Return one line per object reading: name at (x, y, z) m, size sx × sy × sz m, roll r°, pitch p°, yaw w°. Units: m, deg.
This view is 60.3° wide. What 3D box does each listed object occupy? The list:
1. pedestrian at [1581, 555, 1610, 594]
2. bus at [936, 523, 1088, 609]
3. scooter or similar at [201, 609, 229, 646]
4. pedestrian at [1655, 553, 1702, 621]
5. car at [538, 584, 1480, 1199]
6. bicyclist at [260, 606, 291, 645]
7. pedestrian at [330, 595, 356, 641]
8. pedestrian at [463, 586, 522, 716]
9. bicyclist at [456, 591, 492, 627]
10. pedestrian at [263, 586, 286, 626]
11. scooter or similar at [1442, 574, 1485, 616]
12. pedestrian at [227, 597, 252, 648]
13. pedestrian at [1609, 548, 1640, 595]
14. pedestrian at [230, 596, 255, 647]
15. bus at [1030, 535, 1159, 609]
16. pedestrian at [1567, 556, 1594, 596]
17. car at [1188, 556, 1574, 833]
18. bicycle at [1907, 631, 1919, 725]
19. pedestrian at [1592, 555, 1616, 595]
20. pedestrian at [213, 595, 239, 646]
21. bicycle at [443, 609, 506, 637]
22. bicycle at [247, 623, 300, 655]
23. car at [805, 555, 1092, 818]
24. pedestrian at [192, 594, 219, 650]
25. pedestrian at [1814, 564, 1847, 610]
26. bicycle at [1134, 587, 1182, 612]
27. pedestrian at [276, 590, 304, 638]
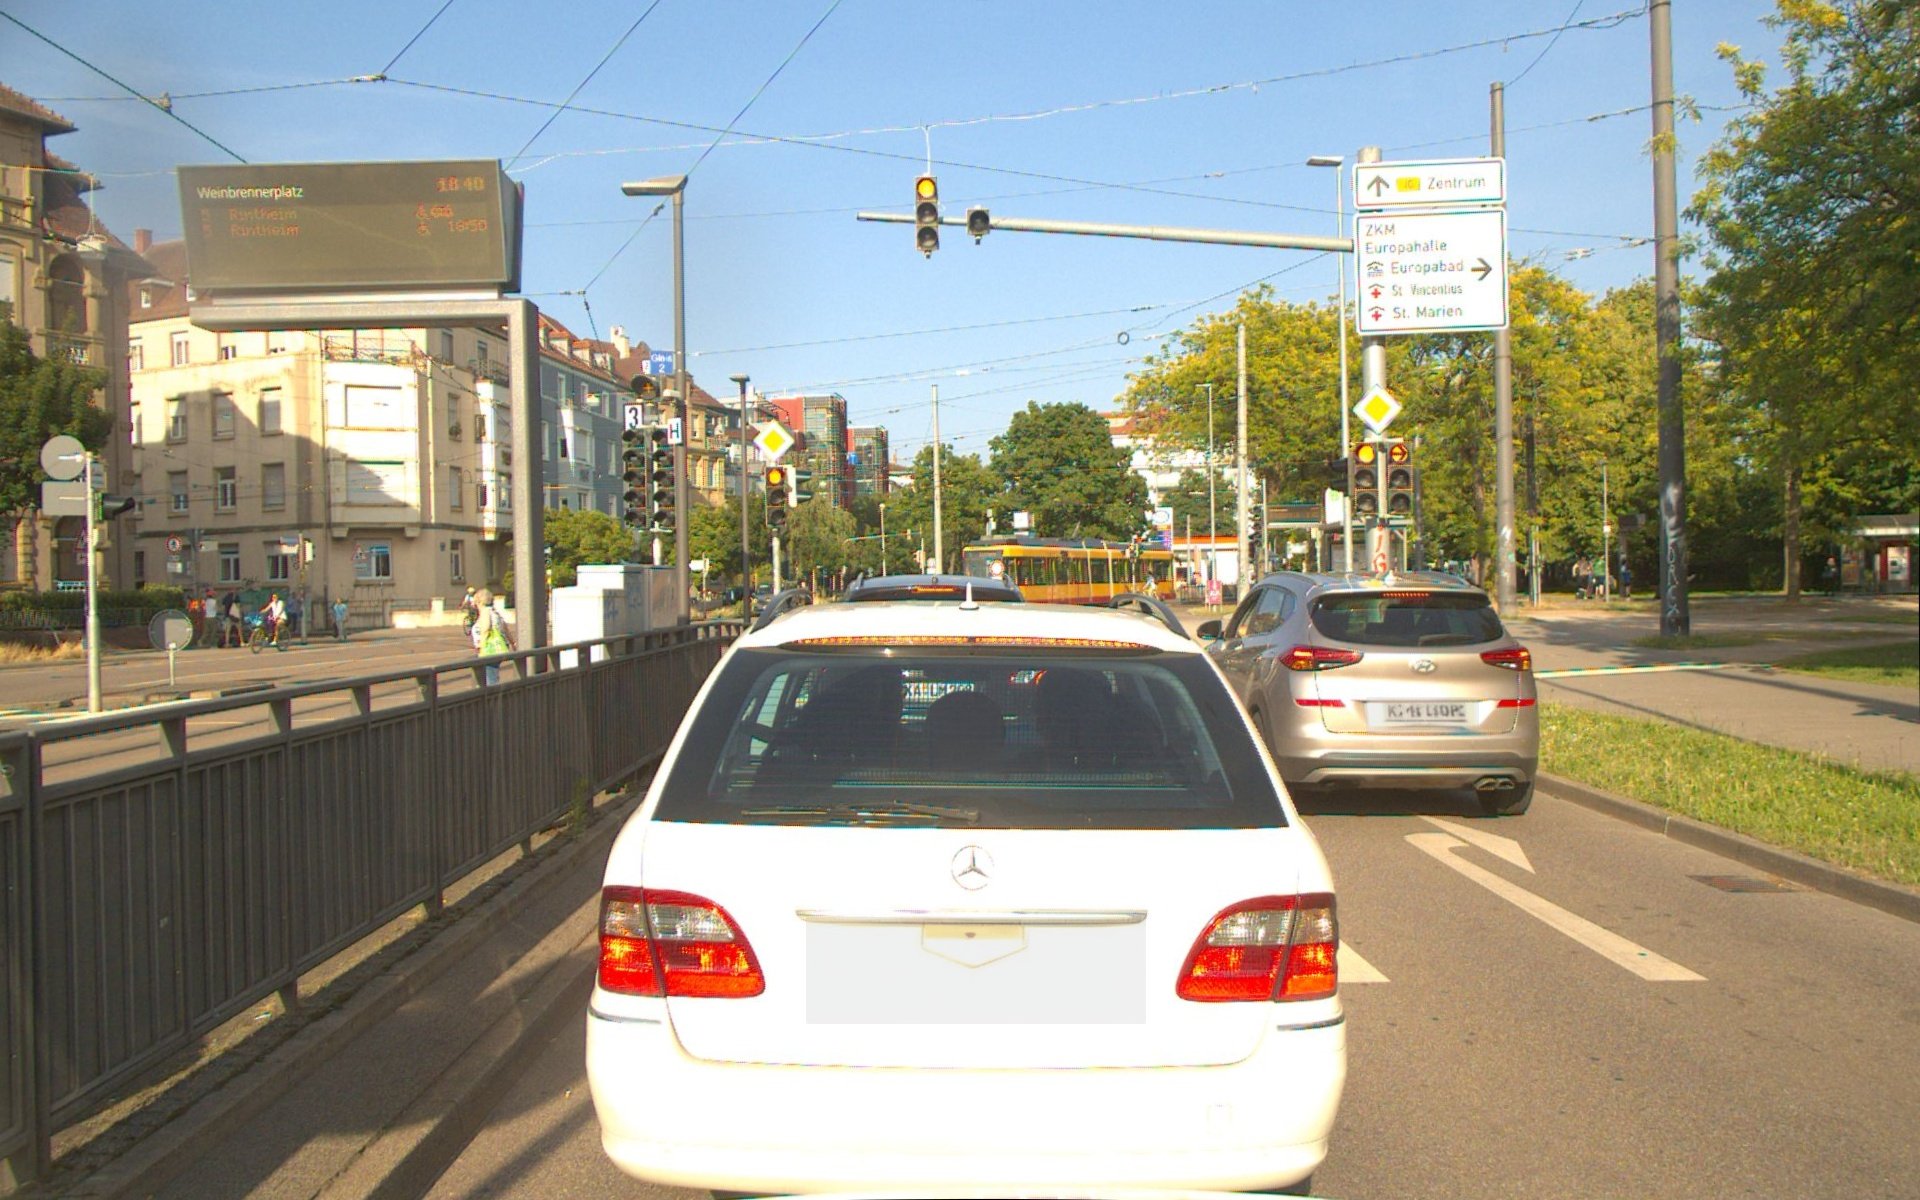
pedestrian at (24.863, -0.986, 64.747) m, size 0.799 × 1.513 × 0.699 m, roll -1°, pitch 0°, yaw -12°
bus at (2.665, -1.437, 77.362) m, size 3.045 × 3.669 × 12.373 m, roll 1°, pitch 0°, yaw 22°
scooter or similar at (-22.654, 0.841, 50.282) m, size 0.532 × 1.098 × 0.683 m, roll 1°, pitch 0°, yaw -1°
pedestrian at (17.997, -0.330, 41.425) m, size 0.748 × 1.665 × 0.797 m, roll -2°, pitch 0°, yaw -40°
car at (0.068, 0.708, 4.917) m, size 1.759 × 1.496 × 3.647 m, roll 0°, pitch 0°, yaw -1°
bicyclist at (-19.337, 0.712, 46.739) m, size 0.502 × 1.062 × 0.680 m, roll -1°, pitch 0°, yaw 10°
pedestrian at (-21.458, 0.617, 57.544) m, size 0.616 × 1.568 × 0.711 m, roll -1°, pitch 0°, yaw -1°
pedestrian at (-6.037, 0.645, 21.365) m, size 0.601 × 1.627 × 0.632 m, roll -1°, pitch 0°, yaw -7°
bicyclist at (-17.580, 0.326, 59.843) m, size 0.747 × 1.284 × 1.175 m, roll -1°, pitch 0°, yaw 14°
pedestrian at (-29.190, 0.267, 70.422) m, size 0.606 × 1.689 × 0.586 m, roll -1°, pitch 0°, yaw 14°
scooter or similar at (13.956, -0.140, 45.852) m, size 0.413 × 1.136 × 1.322 m, roll -1°, pitch 0°, yaw -20°
pedestrian at (-22.022, 0.678, 50.540) m, size 0.523 × 1.527 × 0.389 m, roll -1°, pitch 0°, yaw 14°
pedestrian at (25.881, -1.116, 64.407) m, size 0.784 × 1.816 × 0.838 m, roll -1°, pitch 0°, yaw -5°
pedestrian at (-21.554, 0.639, 49.701) m, size 0.428 × 1.527 × 0.549 m, roll -1°, pitch 0°, yaw 14°
bus at (7.443, -1.368, 88.880) m, size 3.046 × 3.669 × 12.586 m, roll 1°, pitch 0°, yaw 23°
pedestrian at (24.056, -0.920, 64.127) m, size 0.809 × 1.513 × 0.690 m, roll -2°, pitch 0°, yaw -42°
car at (2.890, 0.574, 12.184) m, size 1.846 × 1.680 × 3.647 m, roll -2°, pitch 0°, yaw -1°
bicycle at (8.180, 0.648, 12.731) m, size 0.485 × 0.770 × 2.168 m, roll -2°, pitch 0°, yaw -1°
pedestrian at (24.603, -0.966, 63.231) m, size 0.797 × 1.513 × 0.700 m, roll -1°, pitch 0°, yaw 24°
pedestrian at (-22.085, 0.607, 49.757) m, size 0.428 × 1.527 × 0.549 m, roll -1°, pitch 0°, yaw 14°
bicycle at (-17.540, 0.814, 59.872) m, size 0.768 × 0.930 × 3.000 m, roll -1°, pitch 0°, yaw 14°
bicycle at (-19.339, 1.094, 46.642) m, size 0.515 × 0.849 × 1.688 m, roll -1°, pitch 0°, yaw 11°
car at (-0.094, 0.551, 12.584) m, size 1.846 × 1.680 × 3.647 m, roll 1°, pitch 0°, yaw -1°
pedestrian at (-22.609, 0.655, 49.568) m, size 0.497 × 1.654 × 0.608 m, roll -1°, pitch 0°, yaw 0°
pedestrian at (32.625, -0.491, 62.016) m, size 0.818 × 1.665 × 0.803 m, roll -1°, pitch 0°, yaw 5°
bicycle at (10.233, -0.036, 85.296) m, size 2.430 × 1.234 × 0.807 m, roll -1°, pitch 0°, yaw 7°
pedestrian at (-28.899, 0.612, 71.319) m, size 0.758 × 2.049 × 0.787 m, roll -1°, pitch 0°, yaw 14°
